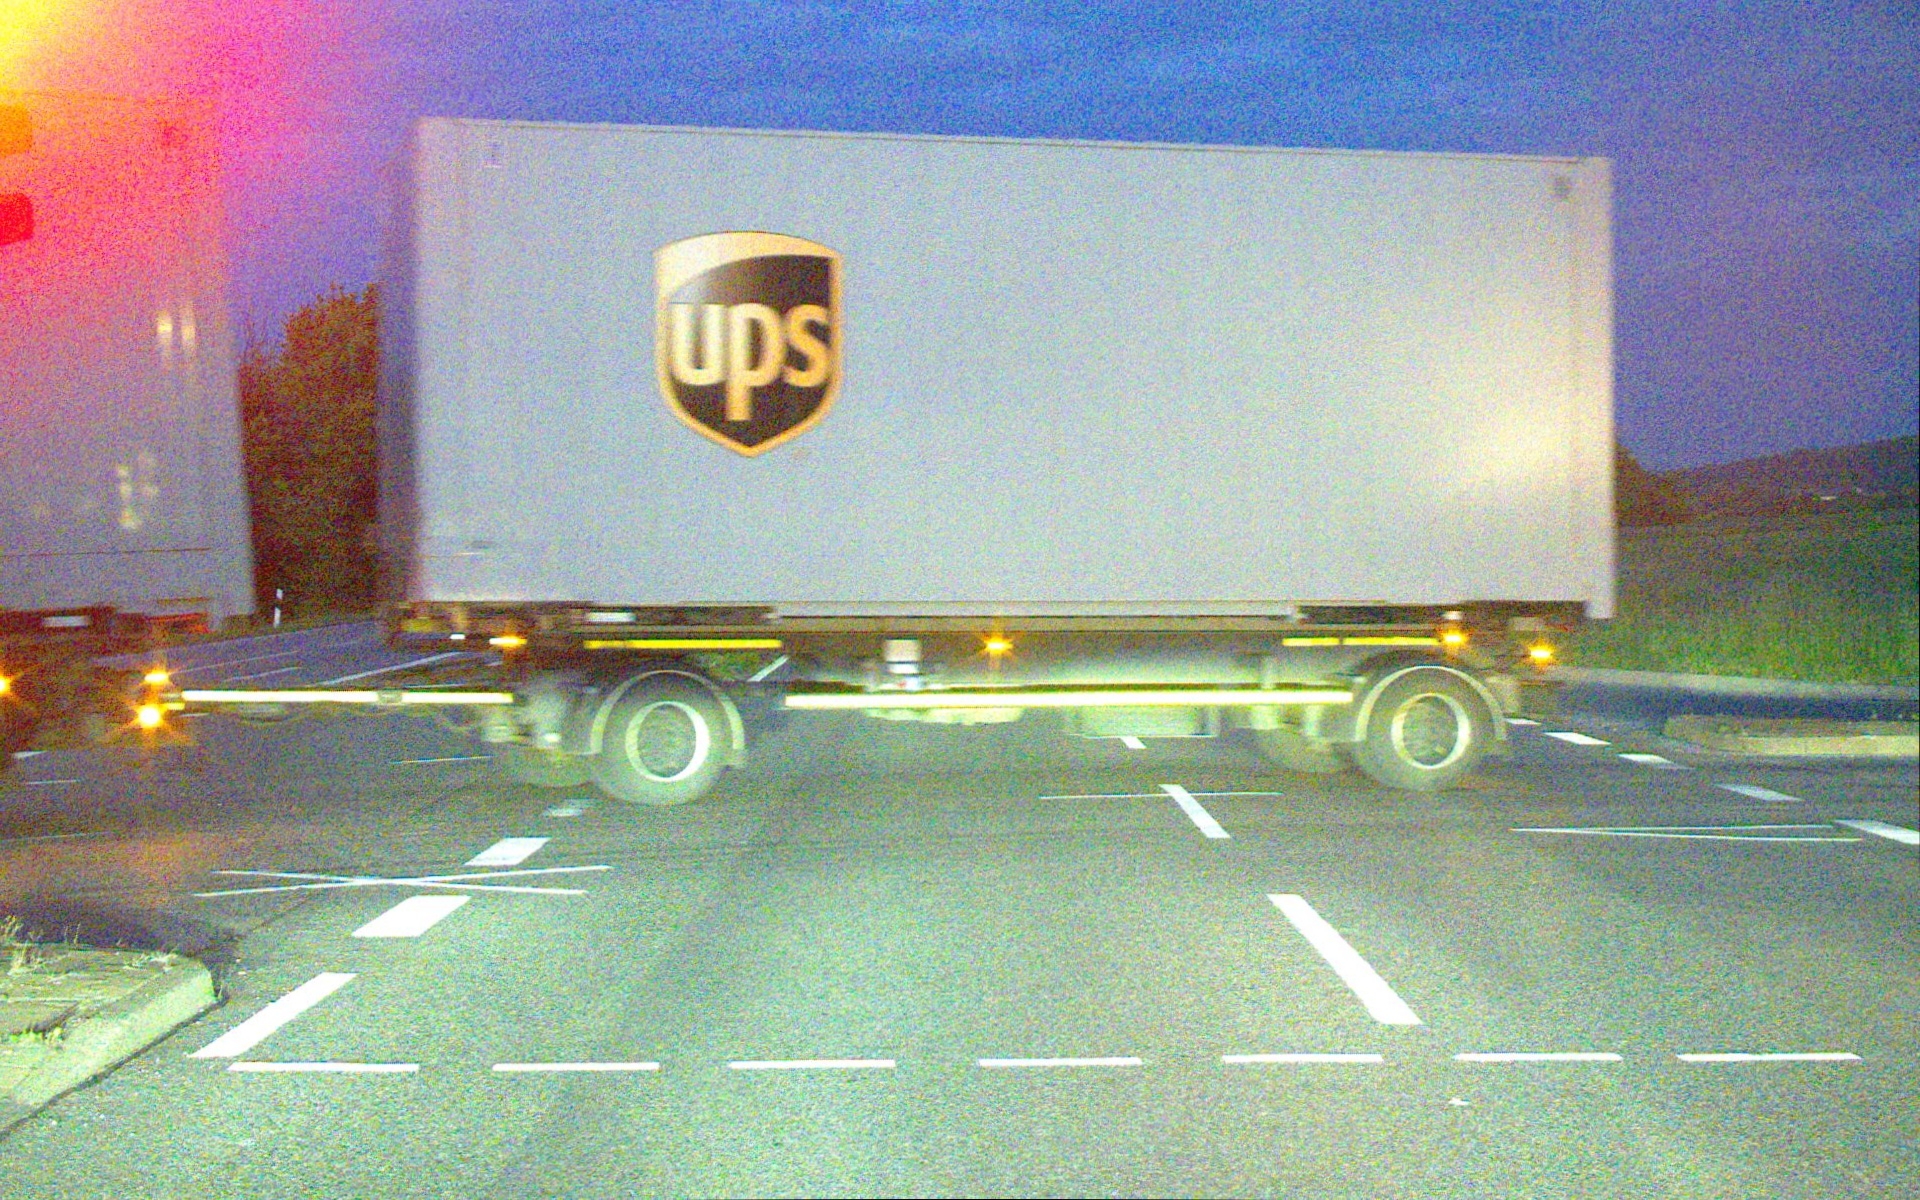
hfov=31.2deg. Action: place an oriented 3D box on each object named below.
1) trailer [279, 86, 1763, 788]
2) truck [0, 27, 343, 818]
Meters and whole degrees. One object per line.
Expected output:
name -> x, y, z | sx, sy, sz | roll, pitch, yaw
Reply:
trailer -> 0.358, -1.069, 21.608 | 8.845, 3.929, 2.586 | -2, 1, -14
truck -> -8.074, -0.886, 16.635 | 2.733, 4.103, 10.319 | 0, 1, 44
